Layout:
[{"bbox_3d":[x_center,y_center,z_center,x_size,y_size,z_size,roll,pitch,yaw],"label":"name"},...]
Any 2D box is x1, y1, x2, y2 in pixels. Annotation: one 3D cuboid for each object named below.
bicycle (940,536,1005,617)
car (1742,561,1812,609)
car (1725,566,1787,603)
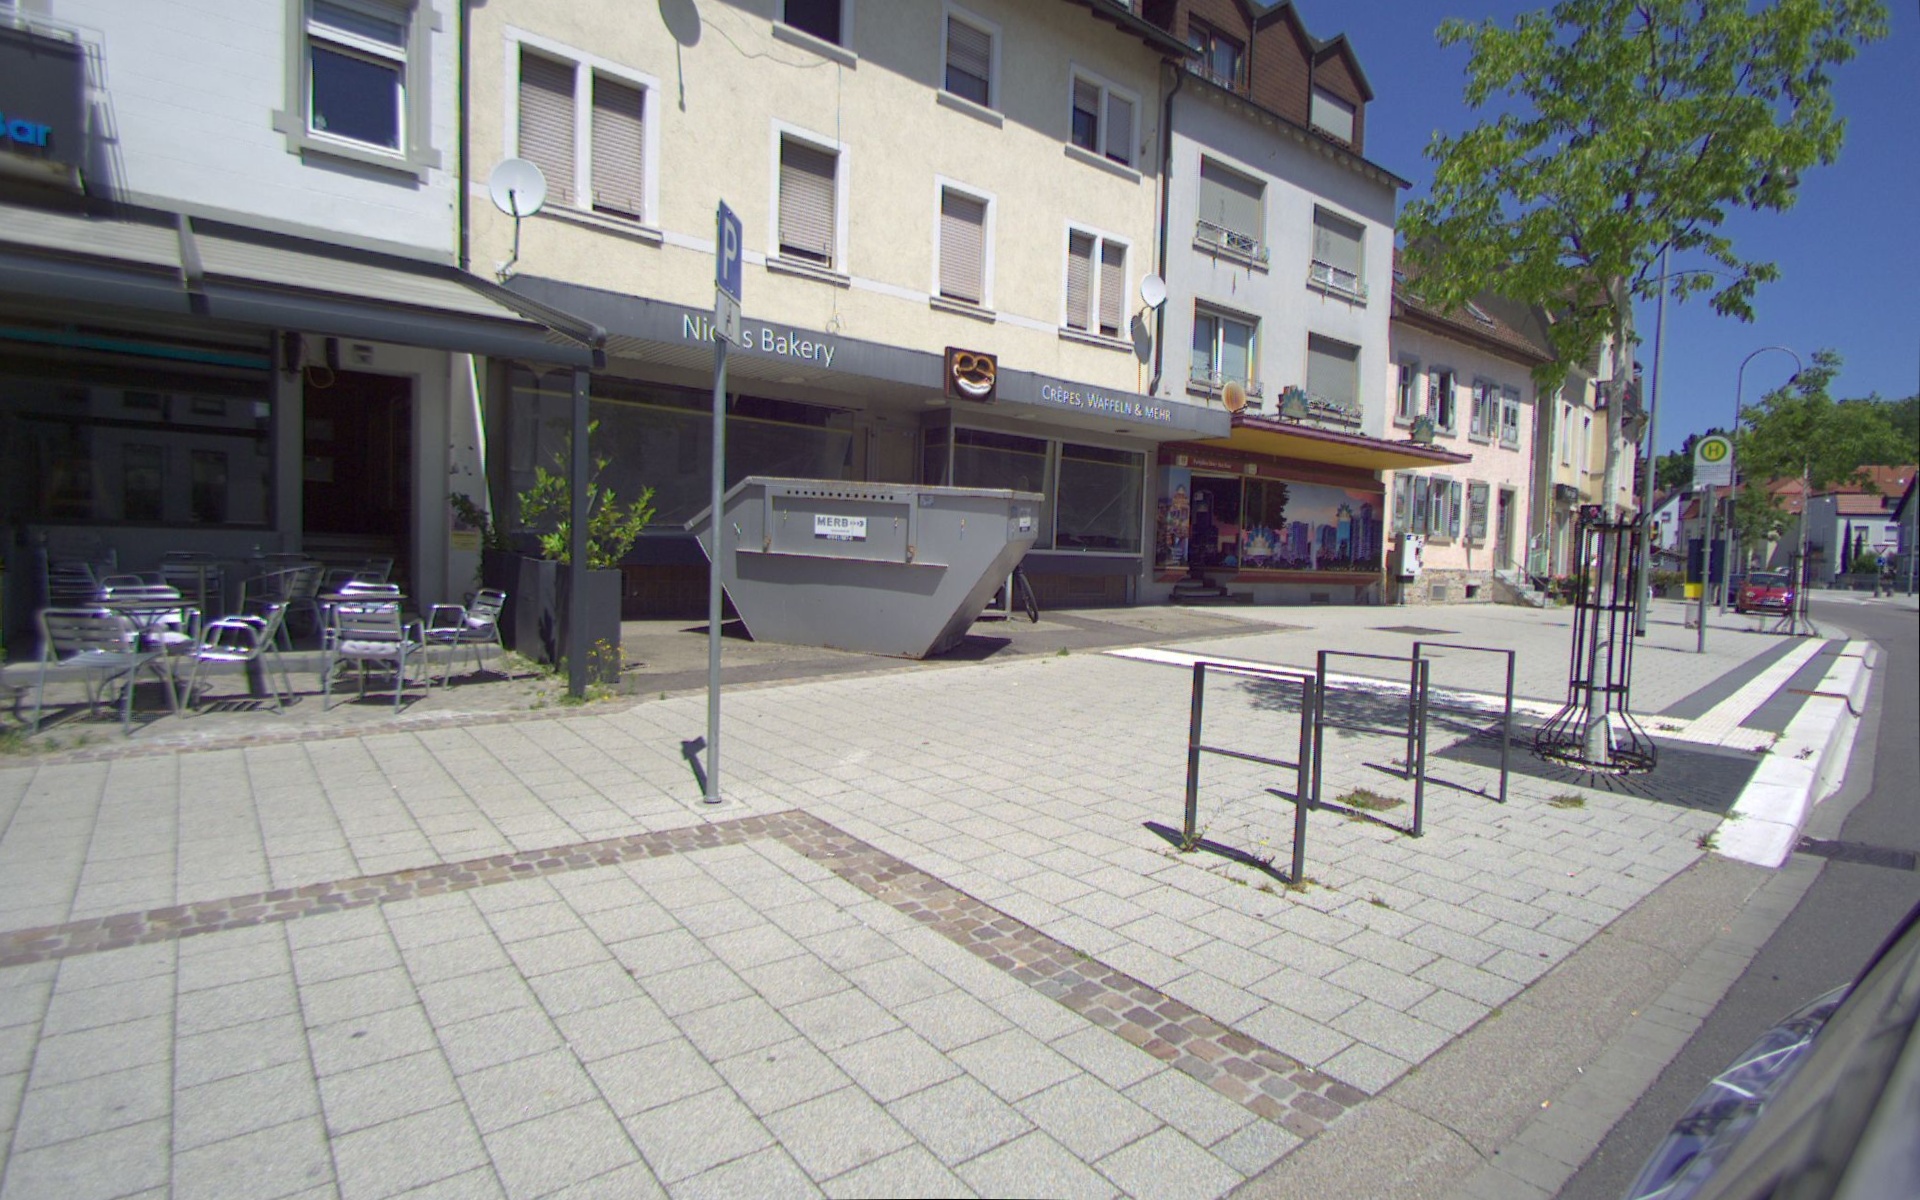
[{"bbox_3d":[0.175,-0.367,15.581,0.407,1.198,1.275,-1,2,-30],"label":"bicycle"},{"bbox_3d":[28.589,-0.562,35.507,1.675,1.532,3.342,5,4,36],"label":"car"},{"bbox_3d":[36.184,-0.739,46.084,1.724,1.490,4.274,6,5,33],"label":"car"}]
